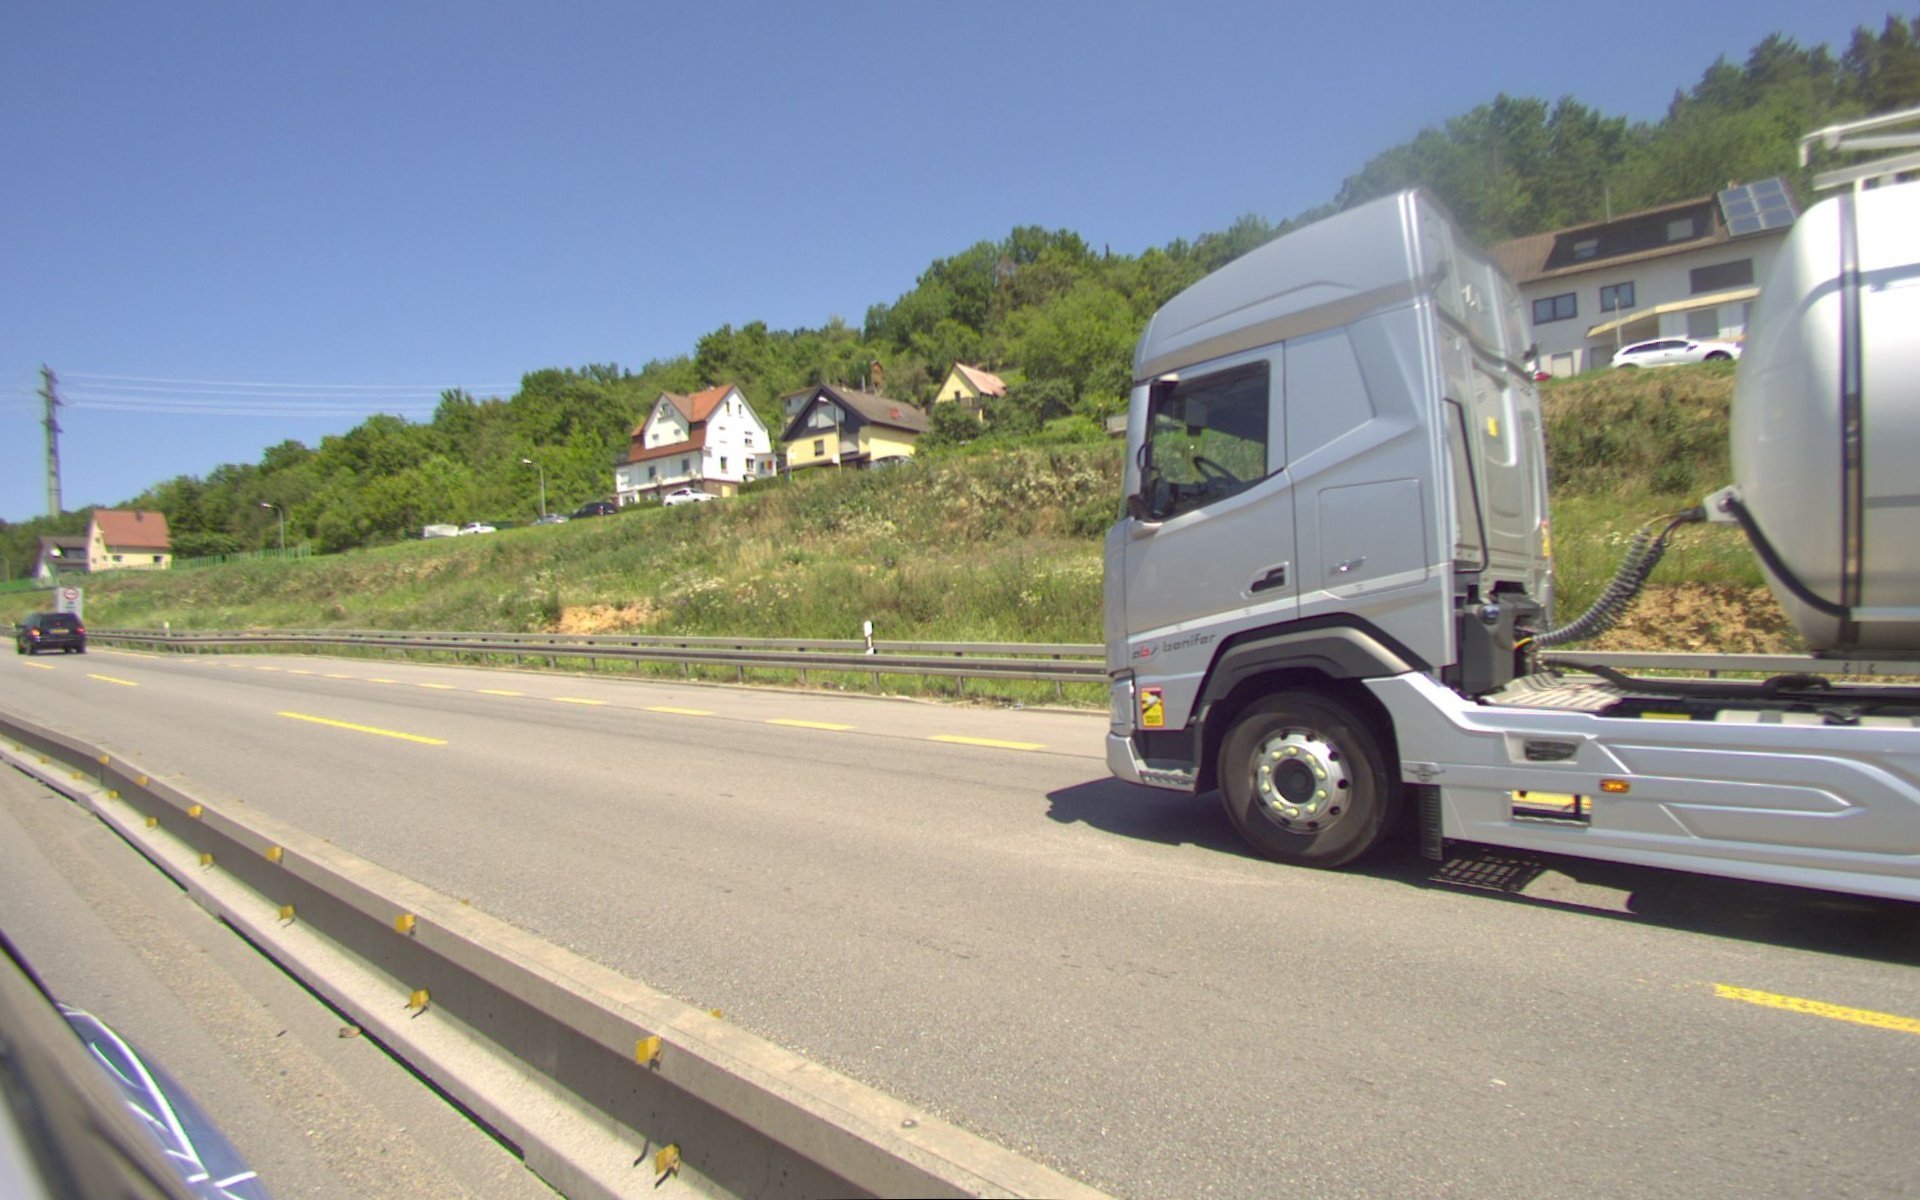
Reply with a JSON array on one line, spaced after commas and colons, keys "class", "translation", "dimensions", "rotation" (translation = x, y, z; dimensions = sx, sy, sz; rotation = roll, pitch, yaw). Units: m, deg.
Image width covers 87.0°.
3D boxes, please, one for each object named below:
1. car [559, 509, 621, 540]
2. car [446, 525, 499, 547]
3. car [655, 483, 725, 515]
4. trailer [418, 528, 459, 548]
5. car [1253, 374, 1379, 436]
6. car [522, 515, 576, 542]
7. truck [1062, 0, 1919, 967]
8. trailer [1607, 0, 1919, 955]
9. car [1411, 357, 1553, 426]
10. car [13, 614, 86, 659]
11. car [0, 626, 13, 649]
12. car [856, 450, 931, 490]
[{"class": "car", "translation": [-28.325, -5.753, 77.456], "dimensions": [4.964, 2.023, 2.052], "rotation": [0, 0, 37]}, {"class": "car", "translation": [-41.428, -5.430, 86.051], "dimensions": [4.538, 1.668, 1.978], "rotation": [0, 0, 32]}, {"class": "car", "translation": [-18.836, -7.010, 70.487], "dimensions": [5.000, 1.807, 1.976], "rotation": [0, 0, 35]}, {"class": "trailer", "translation": [-45.823, -5.427, 88.891], "dimensions": [3.026, 1.527, 1.888], "rotation": [0, 0, 31]}, {"class": "car", "translation": [15.408, -8.386, 43.863], "dimensions": [4.752, 1.807, 2.160], "rotation": [0, 0, 35]}, {"class": "car", "translation": [-32.601, -5.621, 80.287], "dimensions": [4.422, 1.886, 1.976], "rotation": [0, 0, 36]}, {"class": "truck", "translation": [3.927, -0.471, 5.321], "dimensions": [6.273, 3.700, 2.750], "rotation": [-2, -1, 41]}, {"class": "trailer", "translation": [8.212, -0.574, 1.621], "dimensions": [11.788, 3.621, 2.688], "rotation": [-2, -1, 41]}, {"class": "car", "translation": [21.186, -8.392, 41.132], "dimensions": [4.795, 1.807, 2.325], "rotation": [0, 0, 38]}, {"class": "car", "translation": [-38.669, 1.526, 42.957], "dimensions": [4.495, 1.779, 1.809], "rotation": [-1, -1, 41]}, {"class": "car", "translation": [-63.835, 2.456, 66.543], "dimensions": [4.596, 1.508, 1.785], "rotation": [-1, -1, 41]}, {"class": "car", "translation": [-3.870, -7.464, 58.456], "dimensions": [3.991, 1.807, 1.977], "rotation": [0, 0, 35]}]
